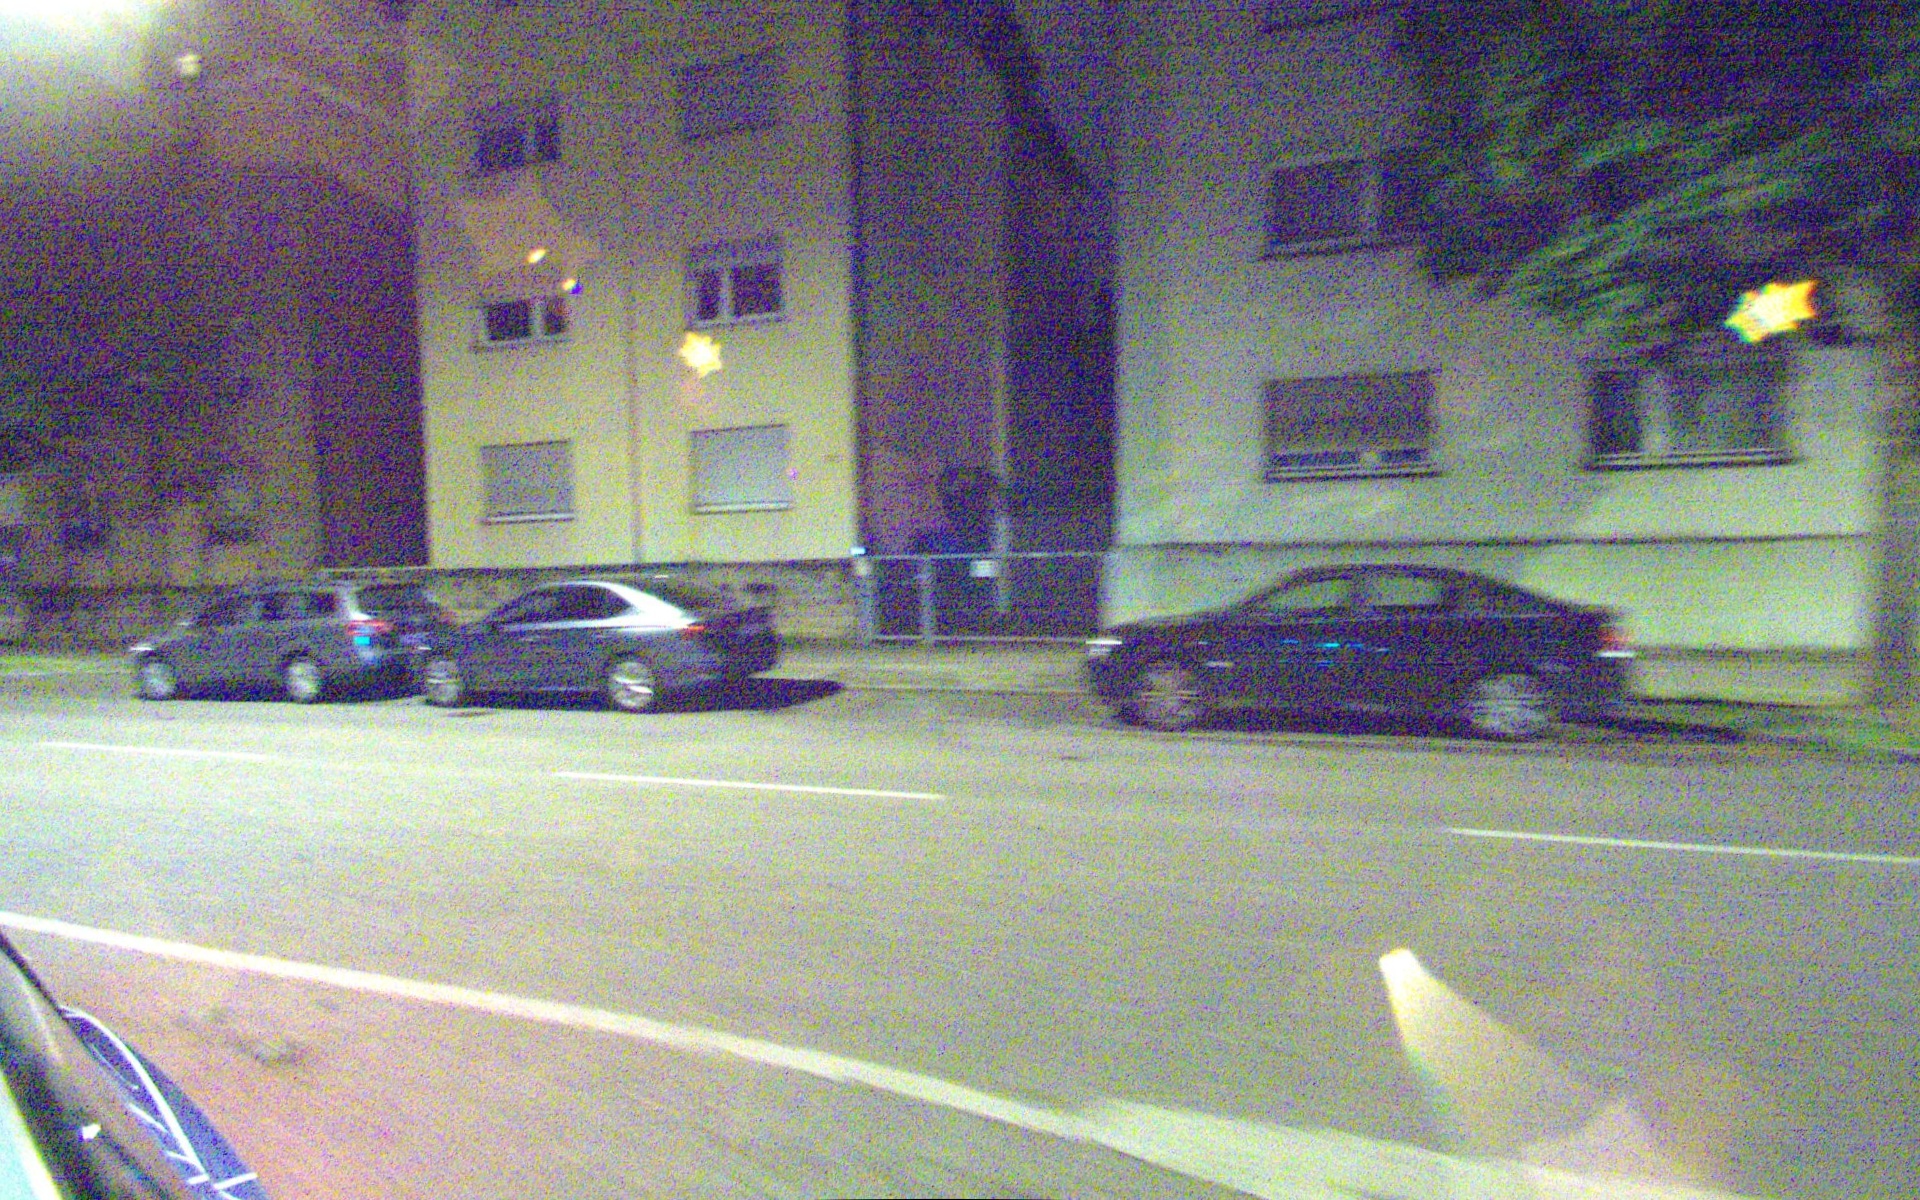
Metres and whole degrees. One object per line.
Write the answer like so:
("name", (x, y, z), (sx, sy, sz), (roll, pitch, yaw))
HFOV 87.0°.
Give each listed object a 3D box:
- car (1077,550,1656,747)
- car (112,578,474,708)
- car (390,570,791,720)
("car", (3.398, 0.353, 9.131), (4.367, 1.444, 1.856), (-1, 3, 18))
("car", (-8.836, 0.525, 13.440), (4.314, 1.444, 1.634), (-1, 4, 19))
("car", (-4.268, 0.467, 11.710), (4.314, 1.444, 1.547), (-1, 4, 20))
